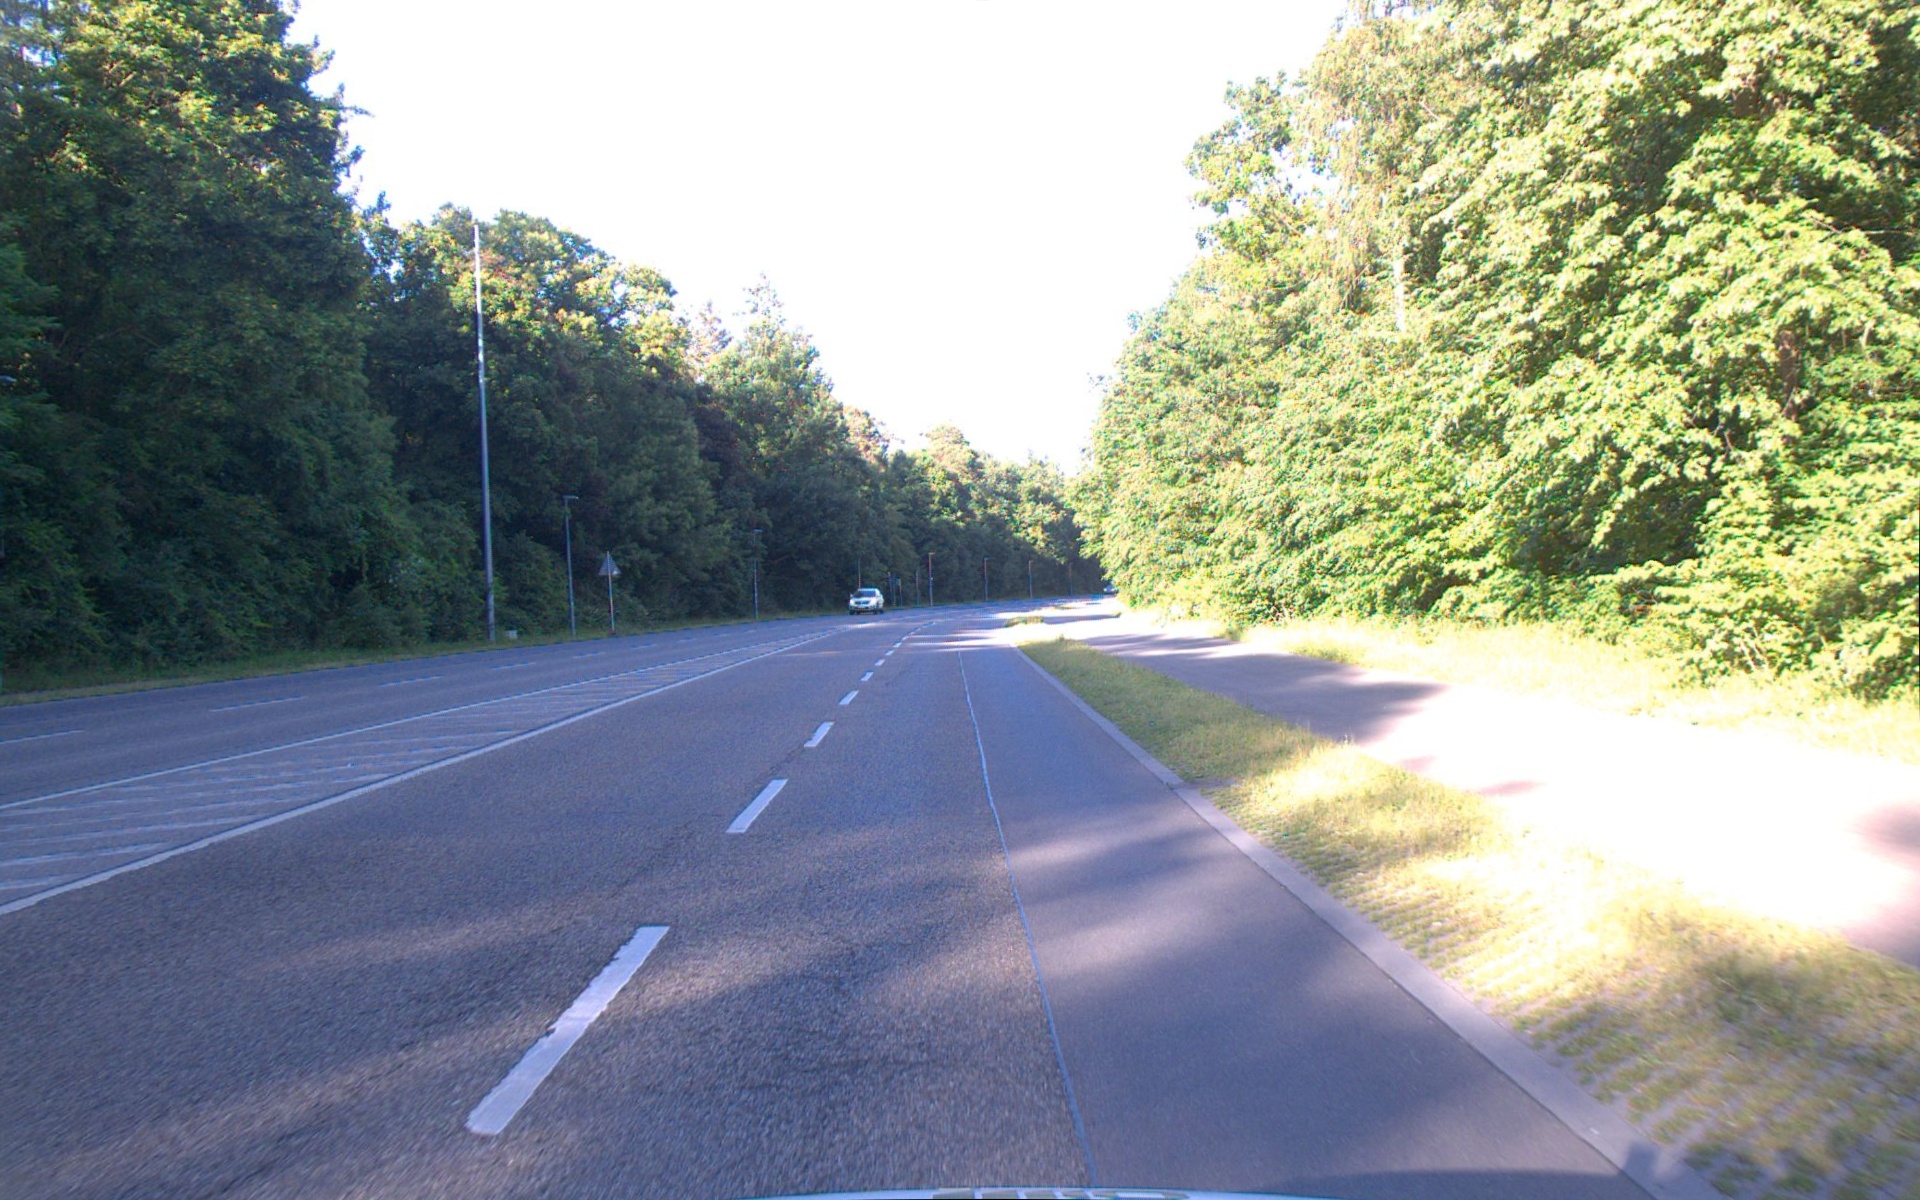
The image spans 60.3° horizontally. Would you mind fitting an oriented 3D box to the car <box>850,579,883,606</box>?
[{"bbox_3d":[-6.117,-0.490,108.370,1.869,1.693,4.733,-1,0,0],"label":"car"}]
